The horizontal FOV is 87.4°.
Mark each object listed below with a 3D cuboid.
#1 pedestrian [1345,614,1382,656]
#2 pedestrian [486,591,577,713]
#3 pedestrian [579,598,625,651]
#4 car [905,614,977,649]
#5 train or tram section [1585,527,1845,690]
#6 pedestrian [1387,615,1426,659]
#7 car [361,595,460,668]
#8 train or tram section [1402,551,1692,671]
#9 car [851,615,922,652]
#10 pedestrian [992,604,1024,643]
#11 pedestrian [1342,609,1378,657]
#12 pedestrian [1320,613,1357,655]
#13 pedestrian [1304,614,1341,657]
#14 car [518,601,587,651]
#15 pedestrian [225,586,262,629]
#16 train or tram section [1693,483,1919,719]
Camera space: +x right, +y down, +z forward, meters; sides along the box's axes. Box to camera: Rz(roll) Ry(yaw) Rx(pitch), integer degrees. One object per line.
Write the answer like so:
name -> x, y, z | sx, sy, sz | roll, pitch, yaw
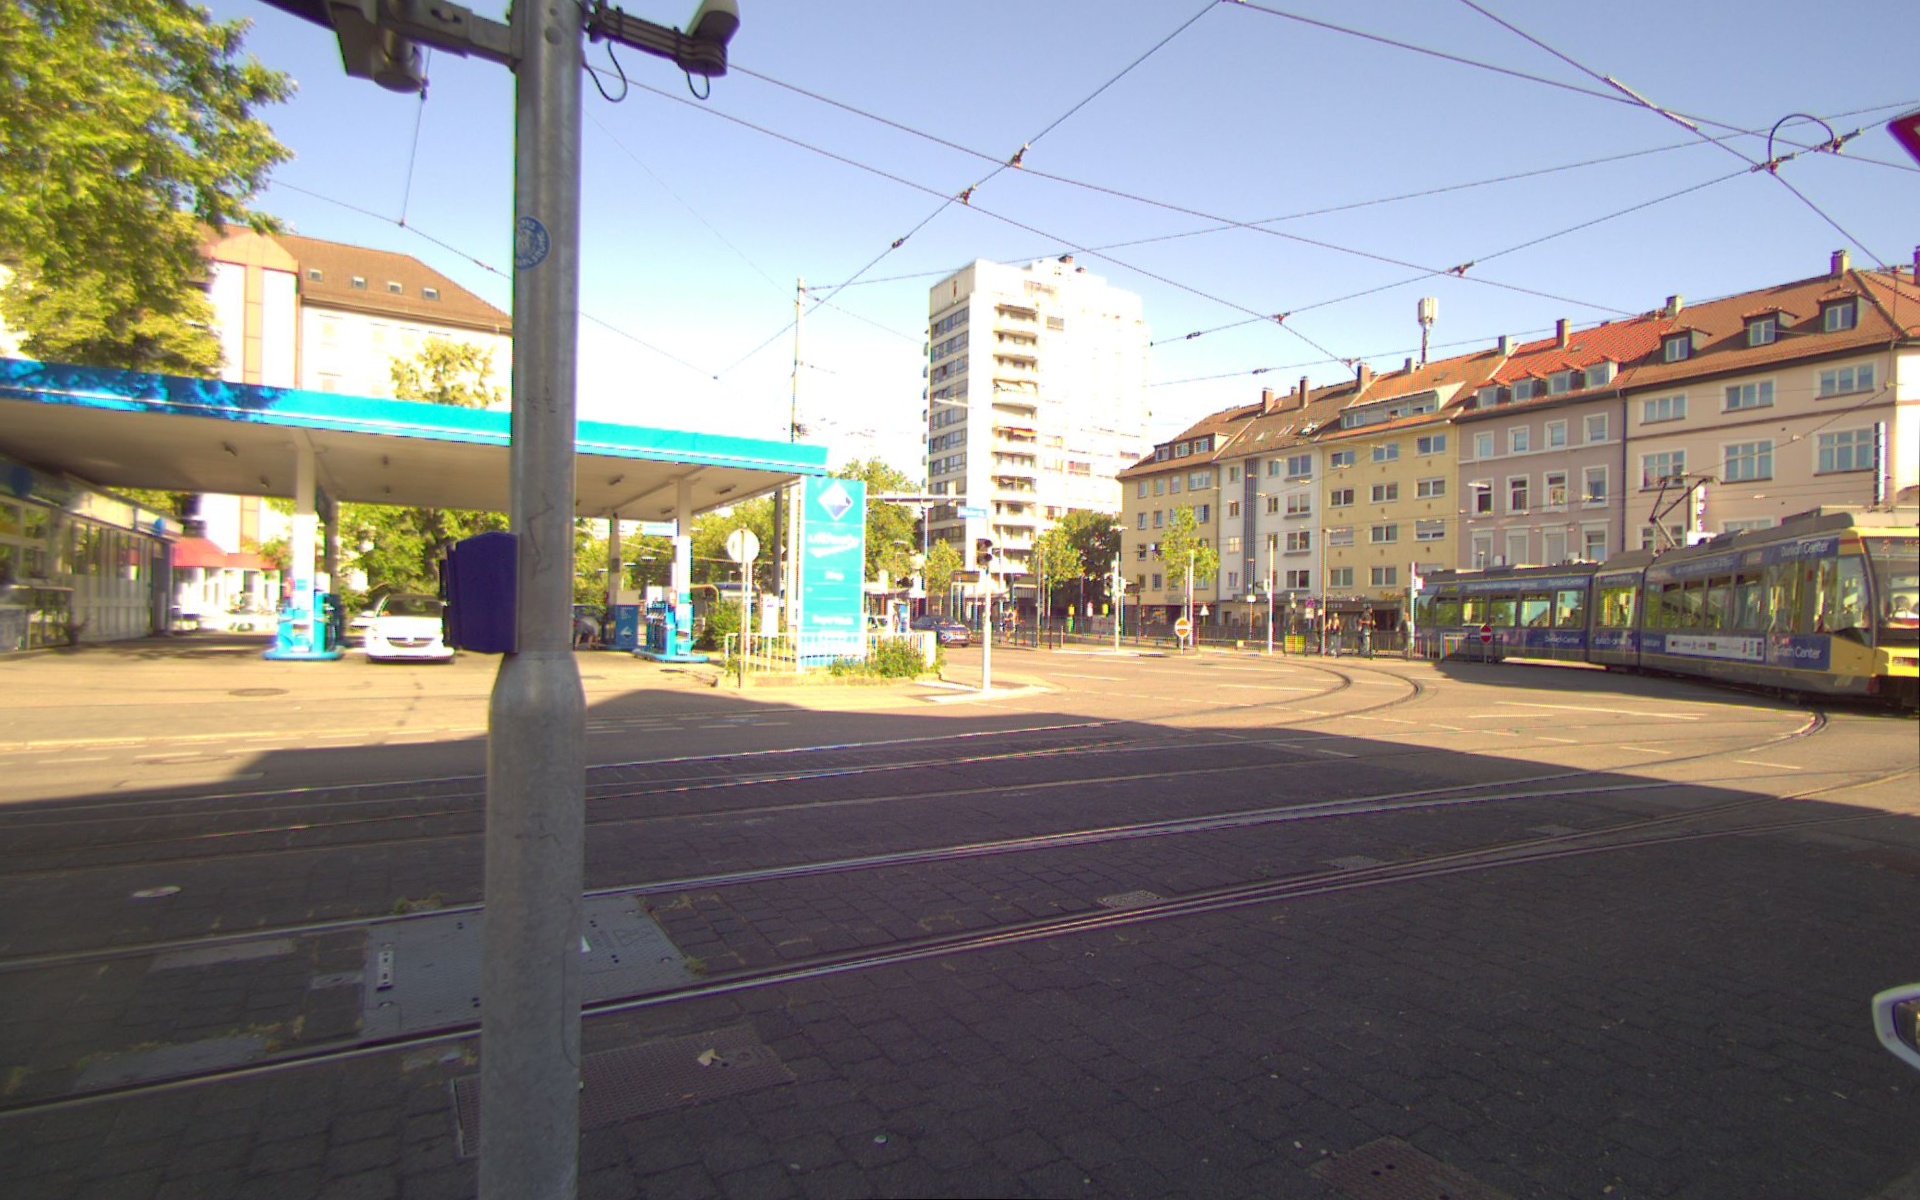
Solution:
pedestrian -> 15.746, 1.353, 39.259 | 0.925, 1.619, 1.007 | 1, -1, -13
pedestrian -> -6.039, 0.731, 14.158 | 1.094, 1.640, 0.710 | 1, -4, -31
pedestrian -> -11.399, 0.769, 32.039 | 1.141, 1.647, 0.812 | 1, -1, 0
car -> -0.977, 1.486, 48.258 | 1.863, 1.601, 3.971 | 1, -1, -28
train or tram section -> 19.162, 0.245, 26.256 | 2.767, 3.546, 8.464 | 0, -1, 18
pedestrian -> 16.608, 1.370, 37.366 | 0.924, 1.619, 1.008 | 1, -1, -8
car -> -12.340, 0.676, 22.540 | 1.760, 1.483, 3.968 | 1, -1, -30
train or tram section -> 20.053, 0.415, 35.772 | 2.726, 3.546, 12.025 | 1, -1, -3
car -> -3.476, 1.525, 46.746 | 1.863, 1.601, 3.971 | 1, -1, -28
pedestrian -> 2.347, 1.124, 48.901 | 1.156, 1.870, 1.098 | 2, -1, -28
pedestrian -> 15.032, 1.235, 37.744 | 1.002, 1.798, 0.930 | 2, -1, -42
pedestrian -> 14.828, 1.321, 39.341 | 0.995, 1.619, 0.936 | 1, -1, -22
pedestrian -> 14.070, 1.380, 39.039 | 0.993, 1.619, 0.938 | 1, -1, -16
car -> -13.451, 0.836, 33.025 | 1.725, 1.431, 4.061 | 5, -2, -26
pedestrian -> -31.406, 0.351, 44.036 | 1.165, 1.853, 1.051 | 1, -1, -30
train or tram section -> 16.425, 0.088, 18.619 | 2.769, 3.546, 7.959 | 0, -1, 22
